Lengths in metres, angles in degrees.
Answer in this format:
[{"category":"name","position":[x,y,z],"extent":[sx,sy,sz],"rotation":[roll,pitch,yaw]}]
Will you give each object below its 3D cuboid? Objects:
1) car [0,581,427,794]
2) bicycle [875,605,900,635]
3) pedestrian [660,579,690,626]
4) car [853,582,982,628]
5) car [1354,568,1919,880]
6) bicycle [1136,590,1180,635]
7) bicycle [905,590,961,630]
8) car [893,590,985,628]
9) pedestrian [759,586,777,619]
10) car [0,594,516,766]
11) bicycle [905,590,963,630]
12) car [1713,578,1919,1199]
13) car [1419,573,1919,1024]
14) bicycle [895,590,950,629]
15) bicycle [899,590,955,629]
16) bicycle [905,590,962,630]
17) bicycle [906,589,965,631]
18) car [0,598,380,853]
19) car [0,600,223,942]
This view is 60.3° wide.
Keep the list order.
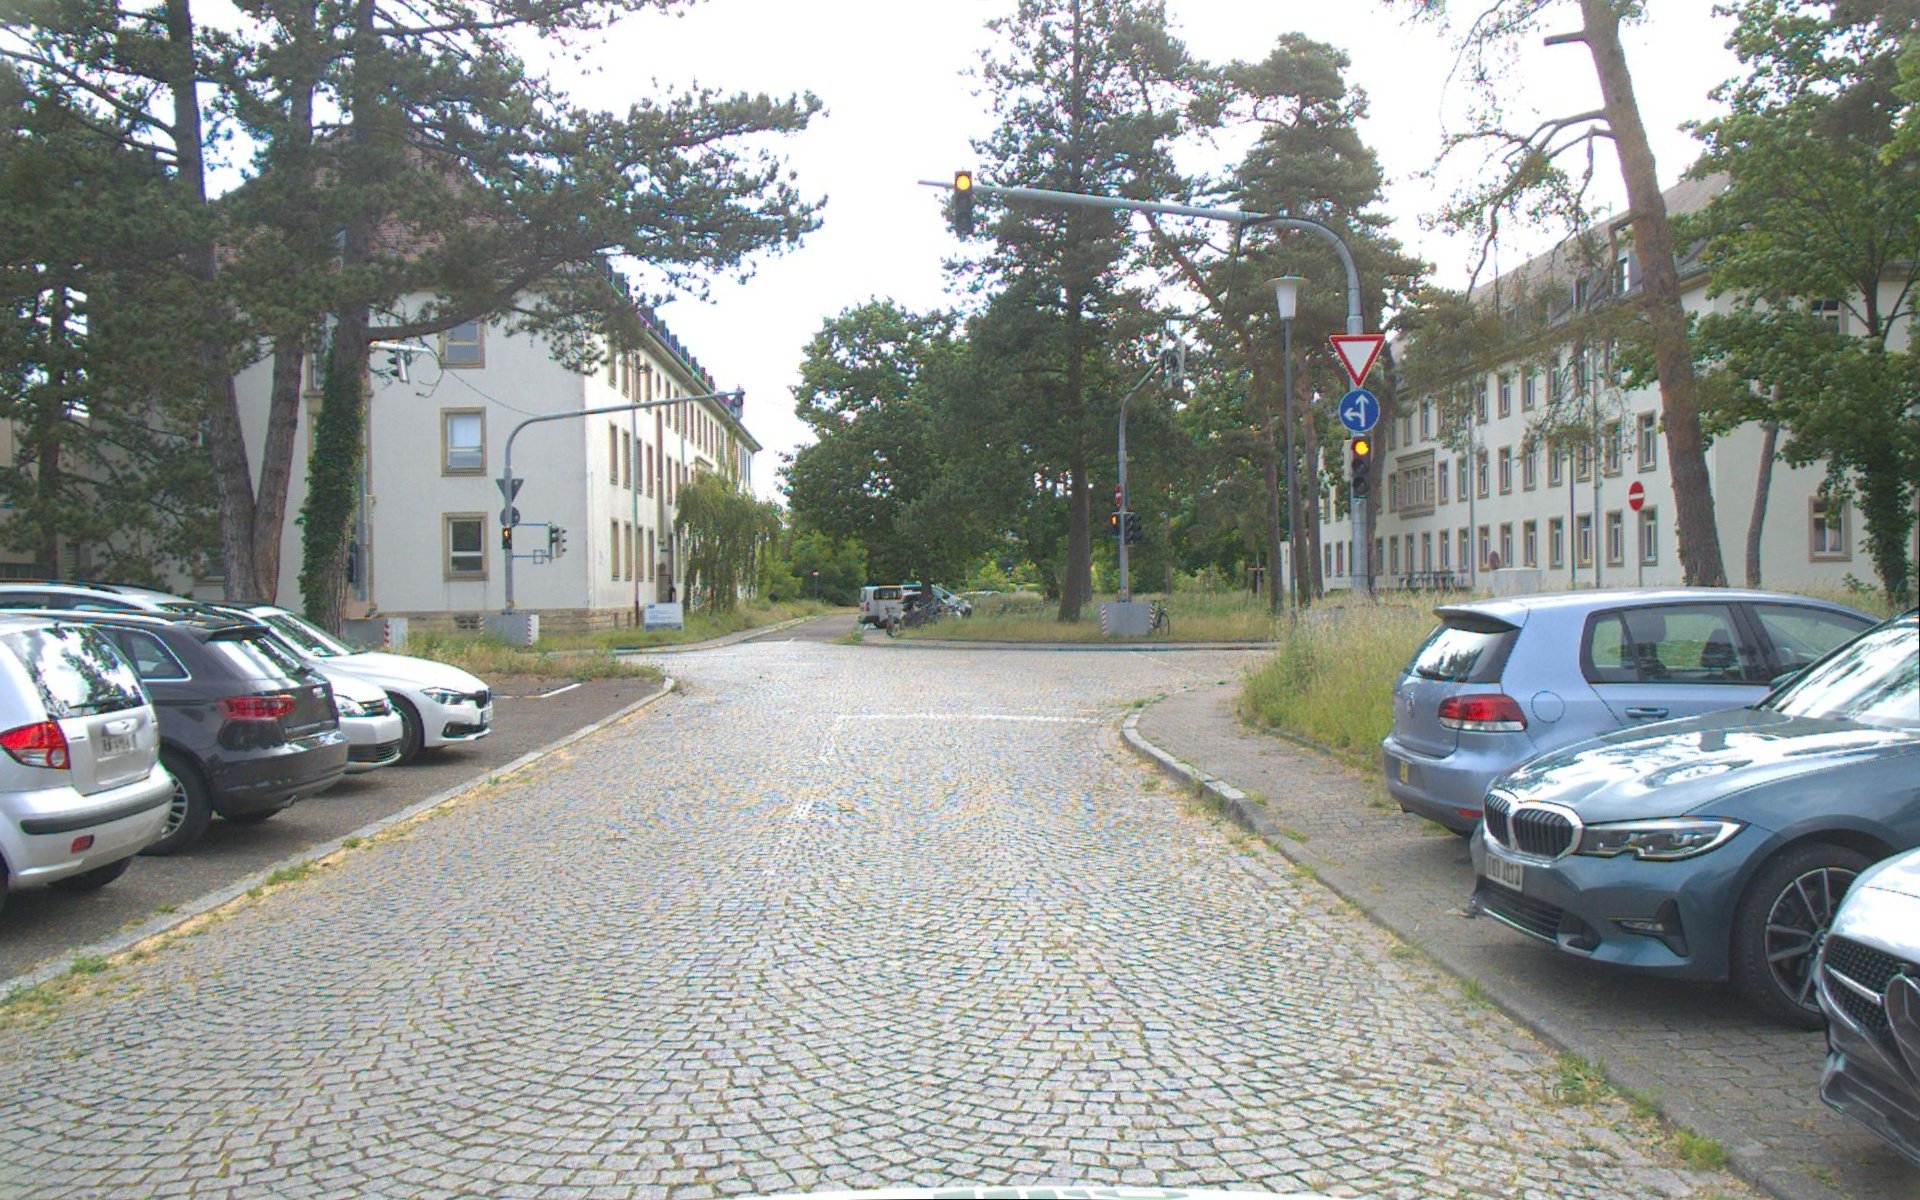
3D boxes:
[{"category":"car","position":[-6.552,0.666,13.433],"extent":[3.911,1.574,1.722],"rotation":[1,0,-7]},{"category":"bicycle","position":[-2.463,0.664,56.398],"extent":[0.605,0.980,2.078],"rotation":[-1,0,5]},{"category":"pedestrian","position":[-12.639,0.092,73.327],"extent":[1.064,2.049,1.022],"rotation":[-1,0,3]},{"category":"car","position":[-1.963,0.227,76.111],"extent":[5.596,1.944,2.222],"rotation":[-1,0,-15]},{"category":"car","position":[4.275,0.610,9.282],"extent":[3.688,1.451,1.605],"rotation":[-2,1,-3]},{"category":"bicycle","position":[5.527,0.343,46.217],"extent":[0.890,1.197,1.873],"rotation":[-1,0,-3]},{"category":"bicycle","position":[-0.983,0.357,60.325],"extent":[2.028,1.402,0.620],"rotation":[-1,0,-2]},{"category":"car","position":[-0.965,0.371,72.777],"extent":[3.857,1.571,1.997],"rotation":[-1,0,-7]},{"category":"pedestrian","position":[-12.231,0.164,105.261],"extent":[0.938,2.049,0.796],"rotation":[-1,0,8]},{"category":"car","position":[-6.748,0.730,15.805],"extent":[4.558,1.469,1.799],"rotation":[1,0,-6]},{"category":"bicycle","position":[-0.937,0.352,58.923],"extent":[2.028,1.402,0.620],"rotation":[-1,0,-2]},{"category":"car","position":[4.568,0.658,4.020],"extent":[4.661,1.508,1.812],"rotation":[-1,0,-2]},{"category":"car","position":[4.457,0.634,6.726],"extent":[4.664,1.508,1.760],"rotation":[-1,0,-5]},{"category":"bicycle","position":[-1.421,0.360,62.612],"extent":[2.028,1.402,0.620],"rotation":[-1,0,-2]},{"category":"bicycle","position":[-1.234,0.355,61.133],"extent":[2.028,1.402,0.620],"rotation":[-1,0,-2]},{"category":"bicycle","position":[-0.963,0.354,59.547],"extent":[2.028,1.402,0.620],"rotation":[-1,0,-2]},{"category":"bicycle","position":[-0.870,0.350,58.255],"extent":[2.028,1.402,0.620],"rotation":[-1,0,-2]},{"category":"car","position":[-5.992,0.727,10.598],"extent":[3.907,1.452,1.750],"rotation":[1,0,-3]},{"category":"car","position":[-5.789,0.727,8.024],"extent":[3.608,1.478,1.806],"rotation":[2,0,-7]}]
